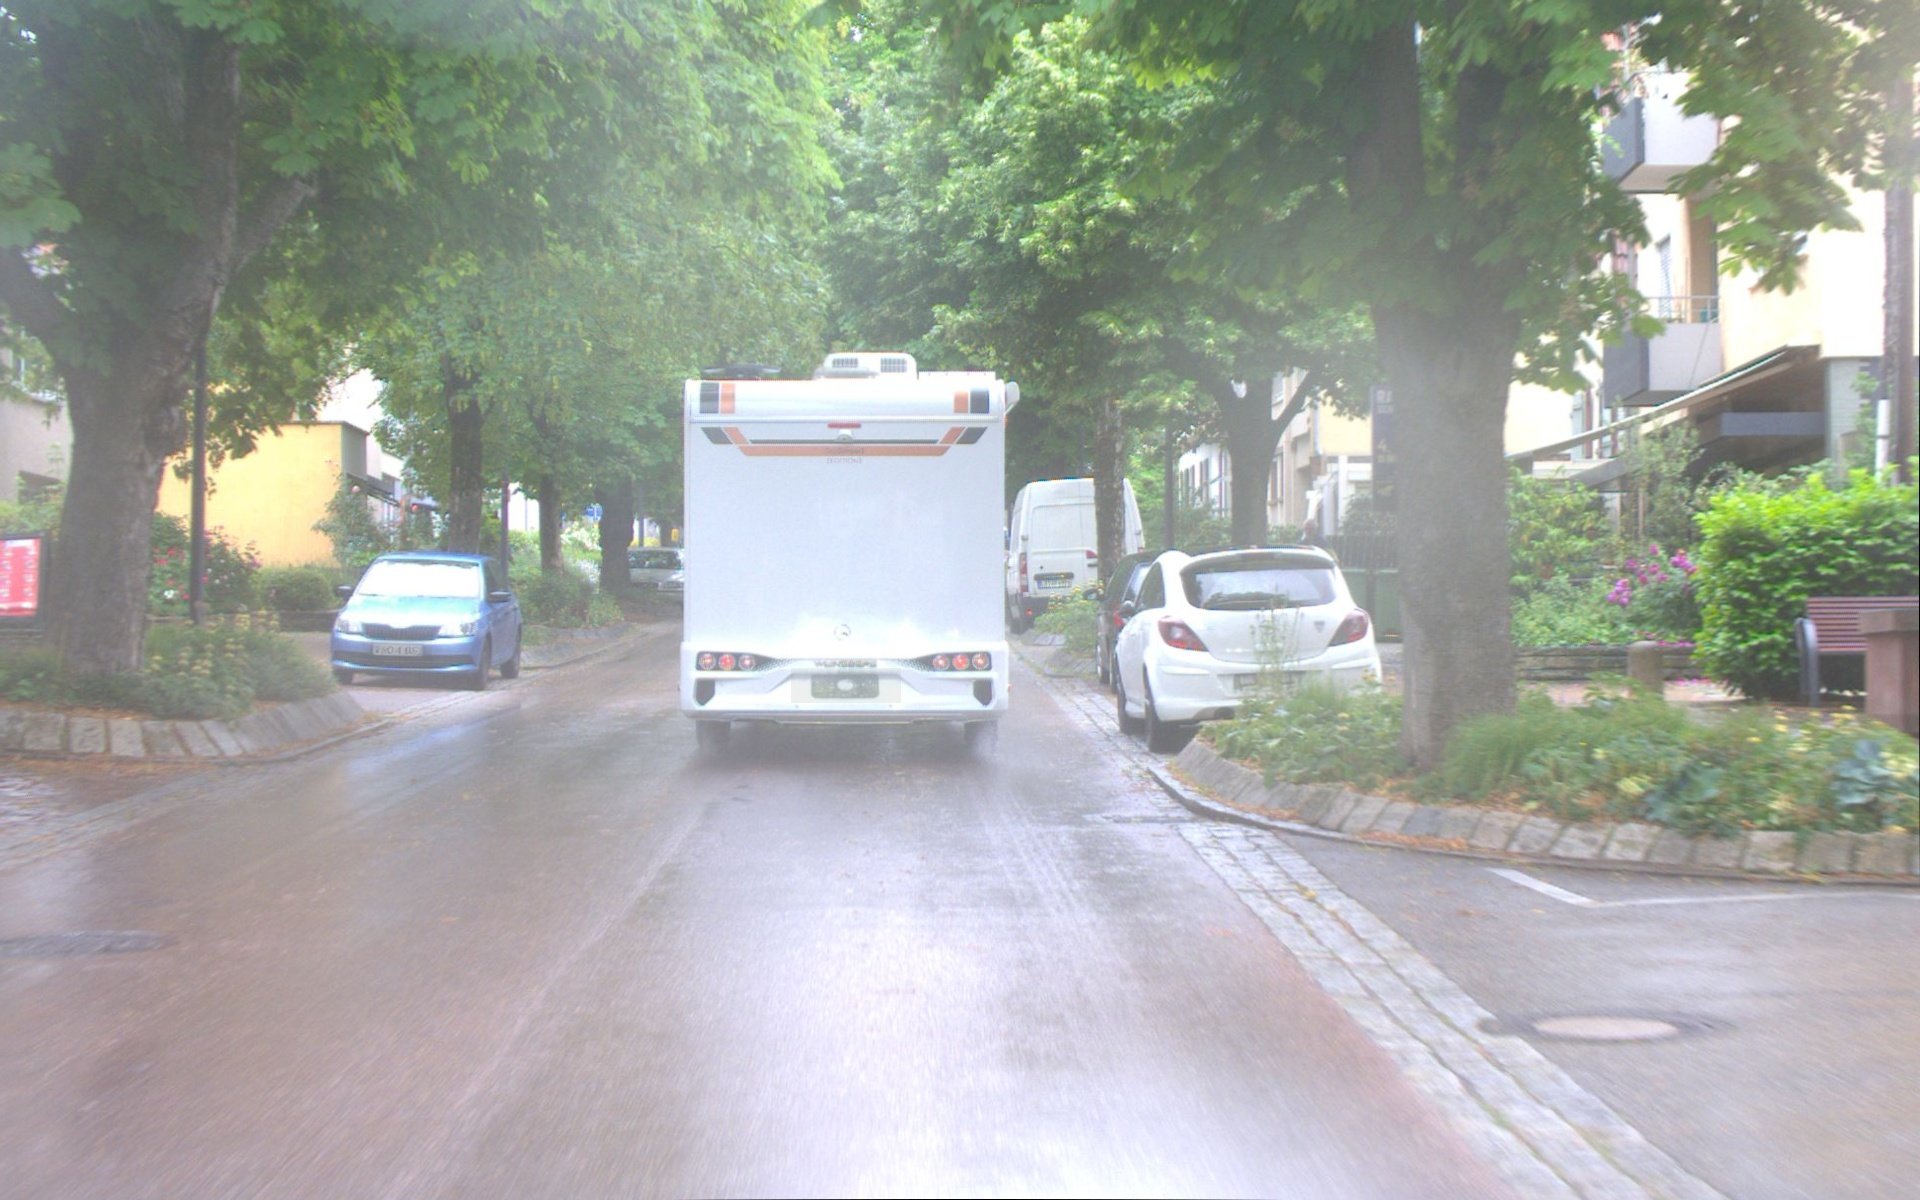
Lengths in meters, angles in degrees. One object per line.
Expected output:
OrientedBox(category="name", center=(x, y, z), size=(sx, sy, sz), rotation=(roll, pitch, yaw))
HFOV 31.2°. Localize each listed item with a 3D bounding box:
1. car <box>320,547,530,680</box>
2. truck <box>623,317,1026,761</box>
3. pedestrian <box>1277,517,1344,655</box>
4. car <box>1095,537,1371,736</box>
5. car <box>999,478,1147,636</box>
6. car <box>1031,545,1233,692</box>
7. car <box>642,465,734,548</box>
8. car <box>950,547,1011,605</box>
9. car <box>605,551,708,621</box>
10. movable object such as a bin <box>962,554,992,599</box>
OrientedBox(category="car", center=(-5.882, 0.114, 38.173), size=(1.749, 1.391, 3.796), rotation=(0, 1, 0))
OrientedBox(category="truck", center=(-0.953, -0.450, 26.277), size=(2.694, 2.975, 6.237), rotation=(0, 1, -1))
OrientedBox(category="pedestrian", center=(4.412, -0.183, 43.248), size=(0.766, 1.725, 0.492), rotation=(0, 1, -4))
OrientedBox(category="car", center=(2.009, 0.234, 26.226), size=(1.680, 1.395, 3.795), rotation=(-1, 1, -2))
OrientedBox(category="car", center=(1.798, -0.709, 56.313), size=(2.141, 2.451, 5.435), rotation=(0, 1, -1))
OrientedBox(category="car", center=(1.712, 0.153, 35.345), size=(1.808, 1.406, 3.784), rotation=(0, 1, -1))
OrientedBox(category="car", center=(-6.726, -2.301, 85.477), size=(1.993, 2.007, 4.000), rotation=(0, 1, -1))
OrientedBox(category="car", center=(0.654, -0.805, 113.049), size=(1.914, 1.786, 4.489), rotation=(0, 2, -1))
OrientedBox(category="car", center=(-6.567, -0.328, 74.809), size=(1.772, 1.384, 4.545), rotation=(2, 1, 0))
OrientedBox(category="movable object such as a bin", center=(0.410, -0.574, 82.860), size=(0.688, 1.079, 0.541), rotation=(0, 1, -5))
